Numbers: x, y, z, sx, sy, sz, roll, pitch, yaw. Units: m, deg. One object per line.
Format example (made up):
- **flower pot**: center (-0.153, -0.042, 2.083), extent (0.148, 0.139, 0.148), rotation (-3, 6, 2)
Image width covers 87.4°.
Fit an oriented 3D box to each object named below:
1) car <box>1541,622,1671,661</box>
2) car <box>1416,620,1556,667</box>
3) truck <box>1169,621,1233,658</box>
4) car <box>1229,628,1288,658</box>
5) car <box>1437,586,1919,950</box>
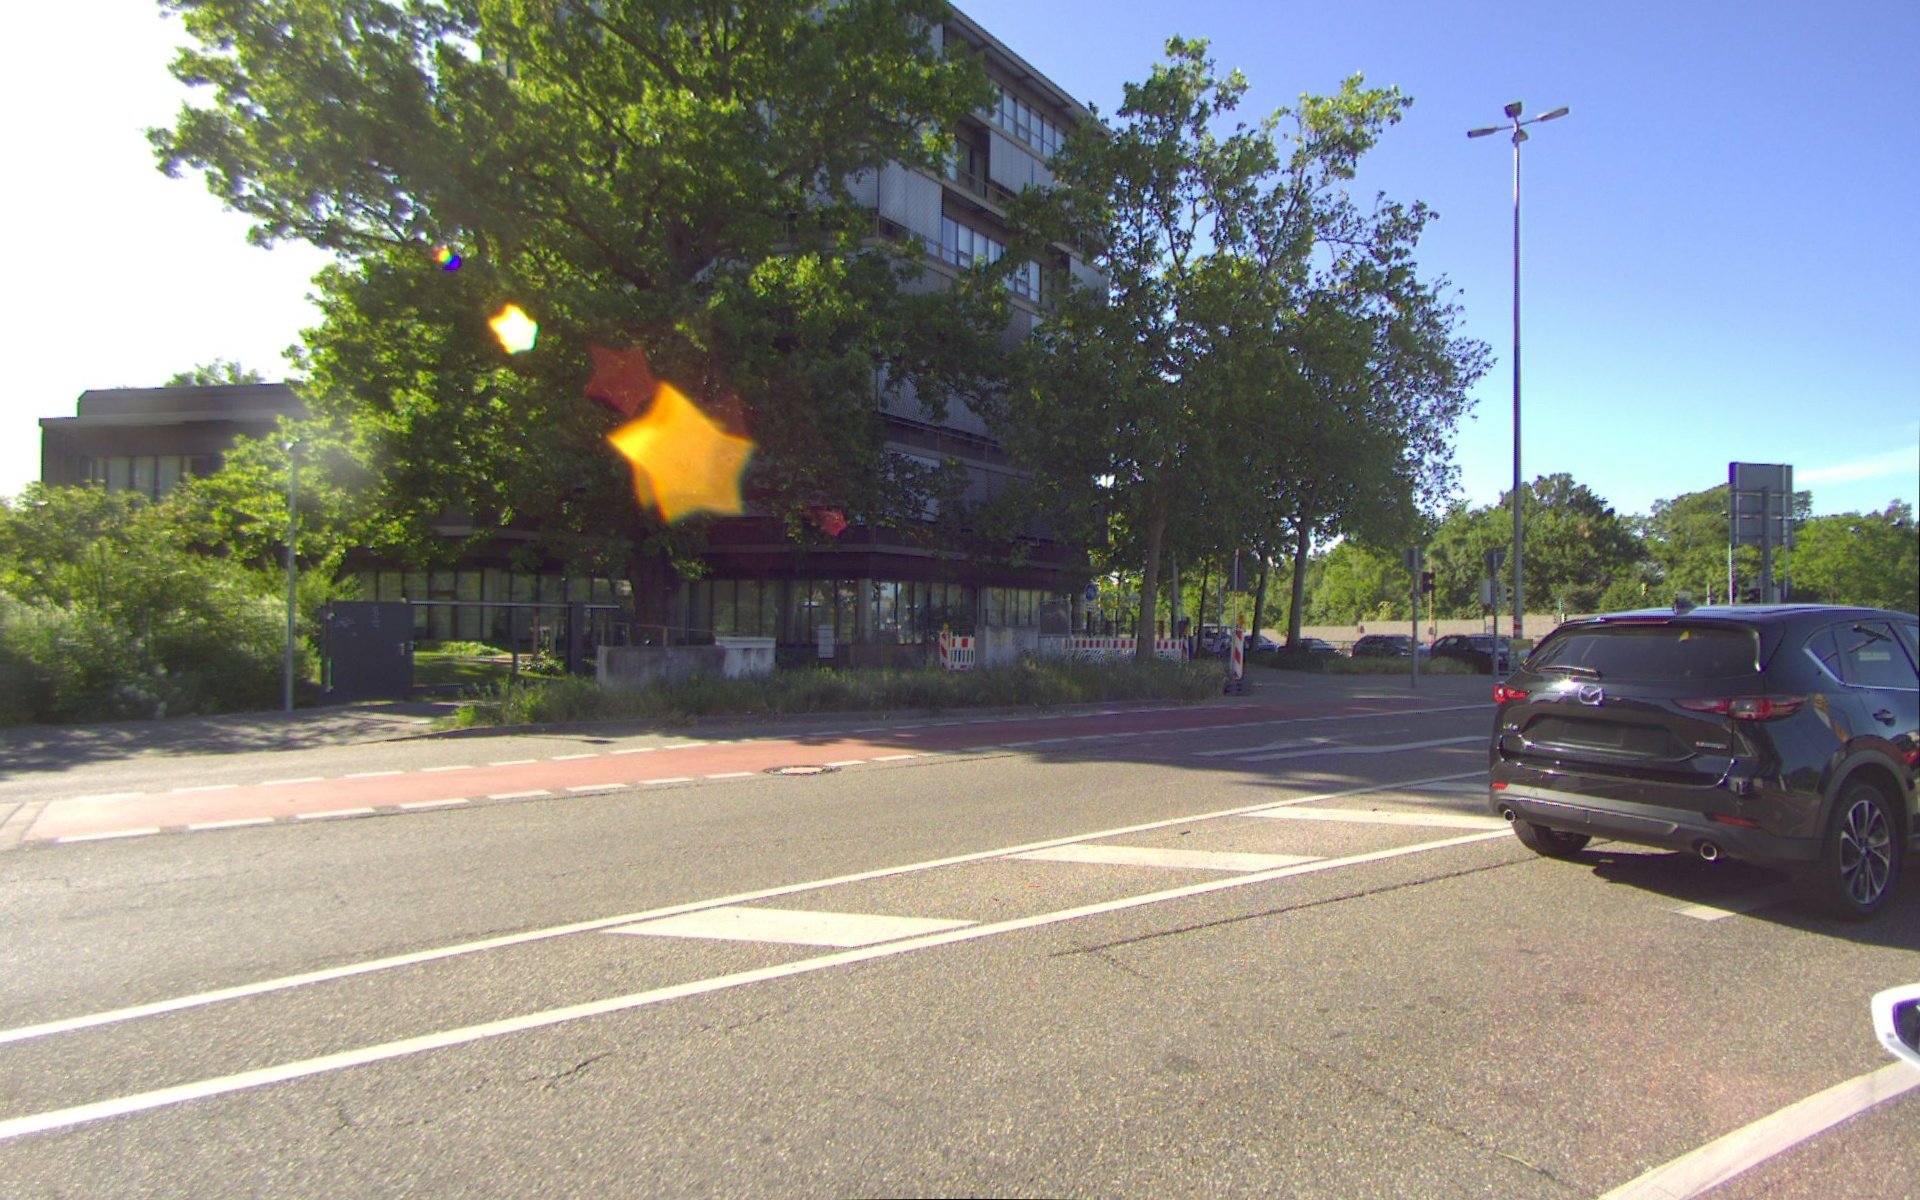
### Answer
- **car**: center (27.391, 1.733, 42.763), extent (1.921, 1.561, 4.439), rotation (1, -2, -19)
- **car**: center (19.571, 1.603, 37.645), extent (1.920, 1.643, 4.769), rotation (1, -2, -16)
- **truck**: center (16.220, 2.627, 68.037), extent (2.122, 2.391, 7.512), rotation (0, -1, -4)
- **car**: center (17.446, 2.490, 58.867), extent (1.844, 1.666, 4.507), rotation (0, -1, -4)
- **car**: center (5.342, 0.856, 6.529), extent (4.140, 1.731, 1.869), rotation (1, -2, -25)
